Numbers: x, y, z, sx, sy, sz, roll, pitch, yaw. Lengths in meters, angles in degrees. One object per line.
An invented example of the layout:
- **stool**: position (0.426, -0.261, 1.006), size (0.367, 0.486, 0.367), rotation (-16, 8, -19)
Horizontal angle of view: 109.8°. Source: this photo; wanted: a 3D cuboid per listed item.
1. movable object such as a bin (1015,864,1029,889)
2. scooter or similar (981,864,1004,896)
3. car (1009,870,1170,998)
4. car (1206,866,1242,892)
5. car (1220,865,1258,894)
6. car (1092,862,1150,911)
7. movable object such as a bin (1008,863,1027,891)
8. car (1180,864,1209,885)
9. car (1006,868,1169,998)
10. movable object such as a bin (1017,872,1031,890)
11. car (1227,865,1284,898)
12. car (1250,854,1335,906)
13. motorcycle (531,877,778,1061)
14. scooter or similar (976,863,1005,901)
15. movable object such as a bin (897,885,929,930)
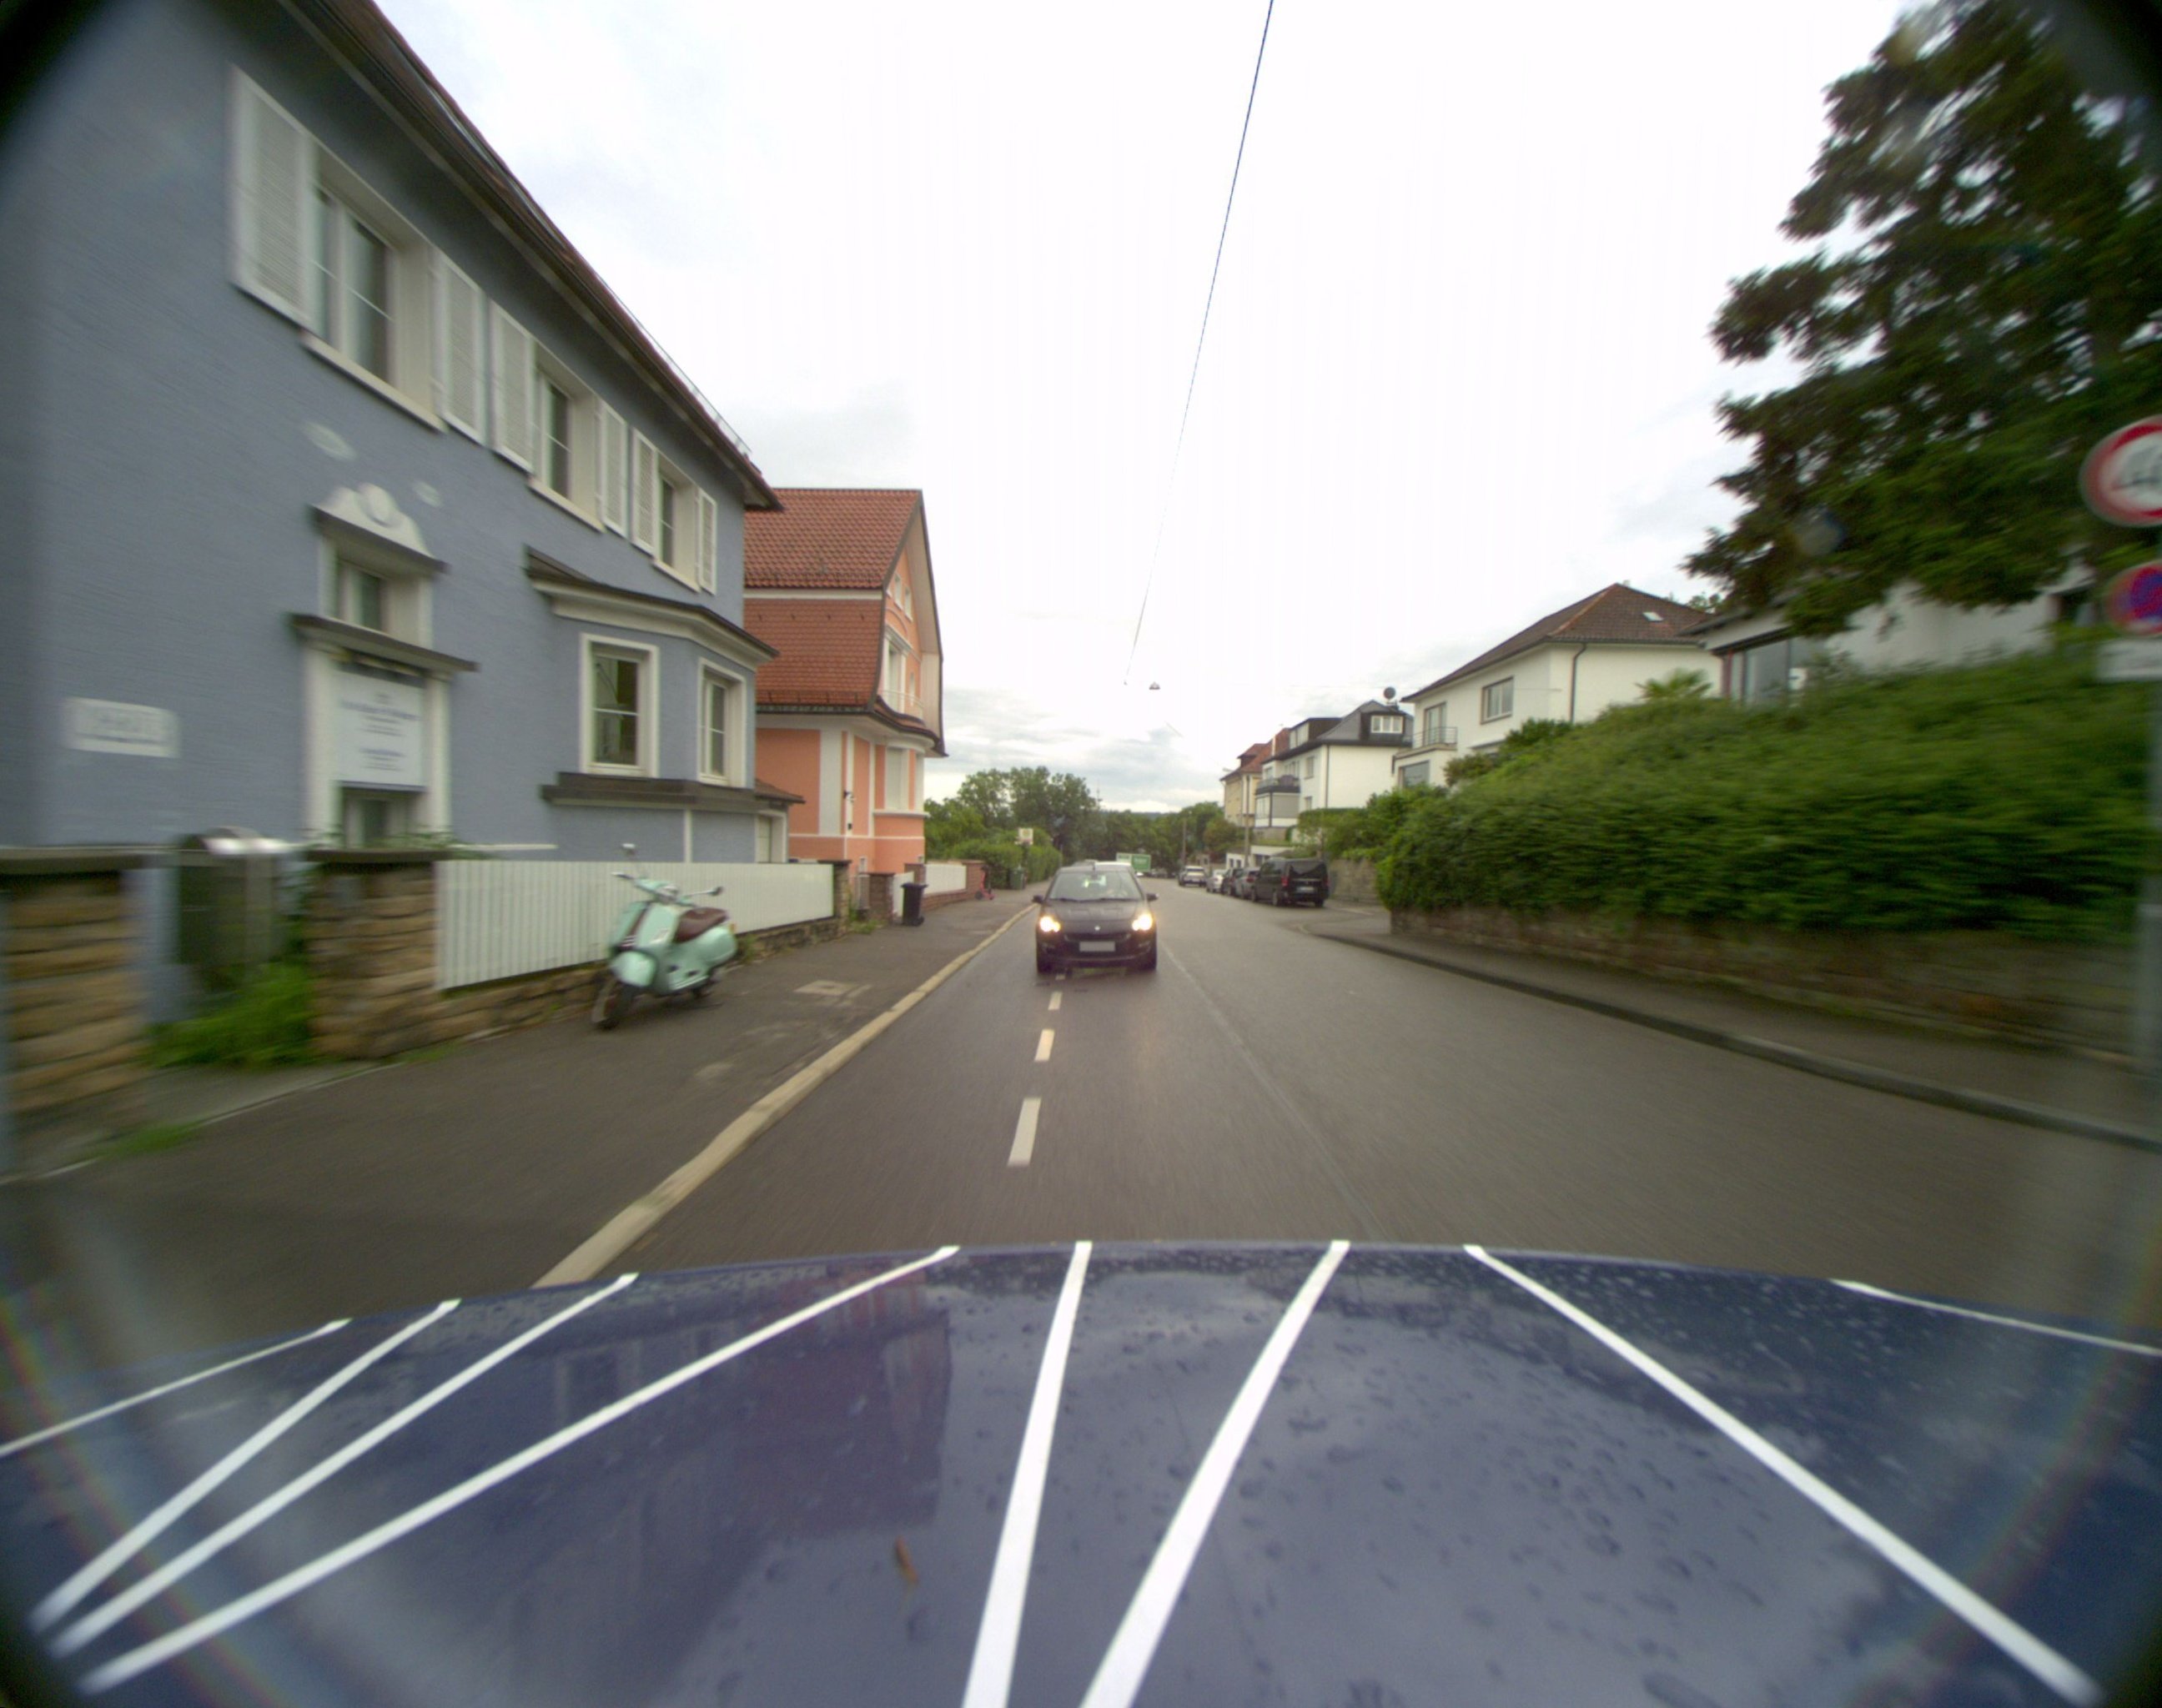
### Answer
- **movable object such as a bin**: position (-2.887, 1.092, 37.283), size (0.613, 1.238, 0.684), rotation (0, 0, 5)
- **scooter or similar**: position (-3.743, 1.091, 32.013), size (0.357, 1.265, 1.290), rotation (0, 2, -37)
- **car**: position (0.320, 0.987, 11.045), size (1.710, 1.414, 4.003), rotation (0, 0, 10)
- **car**: position (8.654, 1.471, 46.054), size (1.594, 1.482, 3.438), rotation (-1, -1, 1)
- **car**: position (8.581, 1.371, 41.473), size (1.521, 1.482, 2.894), rotation (-1, -1, 1)
- **car**: position (1.367, 1.098, 27.196), size (1.928, 1.577, 4.000), rotation (0, 0, 1)
- **movable object such as a bin**: position (-3.041, 1.100, 36.487), size (0.726, 1.238, 0.917), rotation (4, 1, 5)
- **car**: position (8.726, 1.539, 58.577), size (1.868, 1.492, 4.001), rotation (0, 0, 3)
- **car**: position (0.284, 0.980, 11.000), size (1.695, 1.482, 3.943), rotation (-1, -1, 10)
- **movable object such as a bin**: position (-2.843, 1.333, 37.939), size (0.613, 0.858, 0.590), rotation (0, 0, 5)
- **car**: position (8.436, 1.283, 37.013), size (1.696, 1.482, 4.403), rotation (-1, -1, -1)
- **car**: position (8.486, 1.001, 30.933), size (1.999, 1.945, 4.774), rotation (-1, -1, -2)
- **motorcycle**: position (-3.594, 0.884, 6.706), size (0.694, 1.219, 2.154), rotation (7, 1, 5)
- **scooter or similar**: position (-3.371, 1.029, 28.408), size (0.355, 1.394, 1.481), rotation (0, 0, 25)
- **movable object such as a bin**: position (-3.639, 1.145, 16.488), size (0.533, 0.913, 0.488), rotation (3, 0, -1)
